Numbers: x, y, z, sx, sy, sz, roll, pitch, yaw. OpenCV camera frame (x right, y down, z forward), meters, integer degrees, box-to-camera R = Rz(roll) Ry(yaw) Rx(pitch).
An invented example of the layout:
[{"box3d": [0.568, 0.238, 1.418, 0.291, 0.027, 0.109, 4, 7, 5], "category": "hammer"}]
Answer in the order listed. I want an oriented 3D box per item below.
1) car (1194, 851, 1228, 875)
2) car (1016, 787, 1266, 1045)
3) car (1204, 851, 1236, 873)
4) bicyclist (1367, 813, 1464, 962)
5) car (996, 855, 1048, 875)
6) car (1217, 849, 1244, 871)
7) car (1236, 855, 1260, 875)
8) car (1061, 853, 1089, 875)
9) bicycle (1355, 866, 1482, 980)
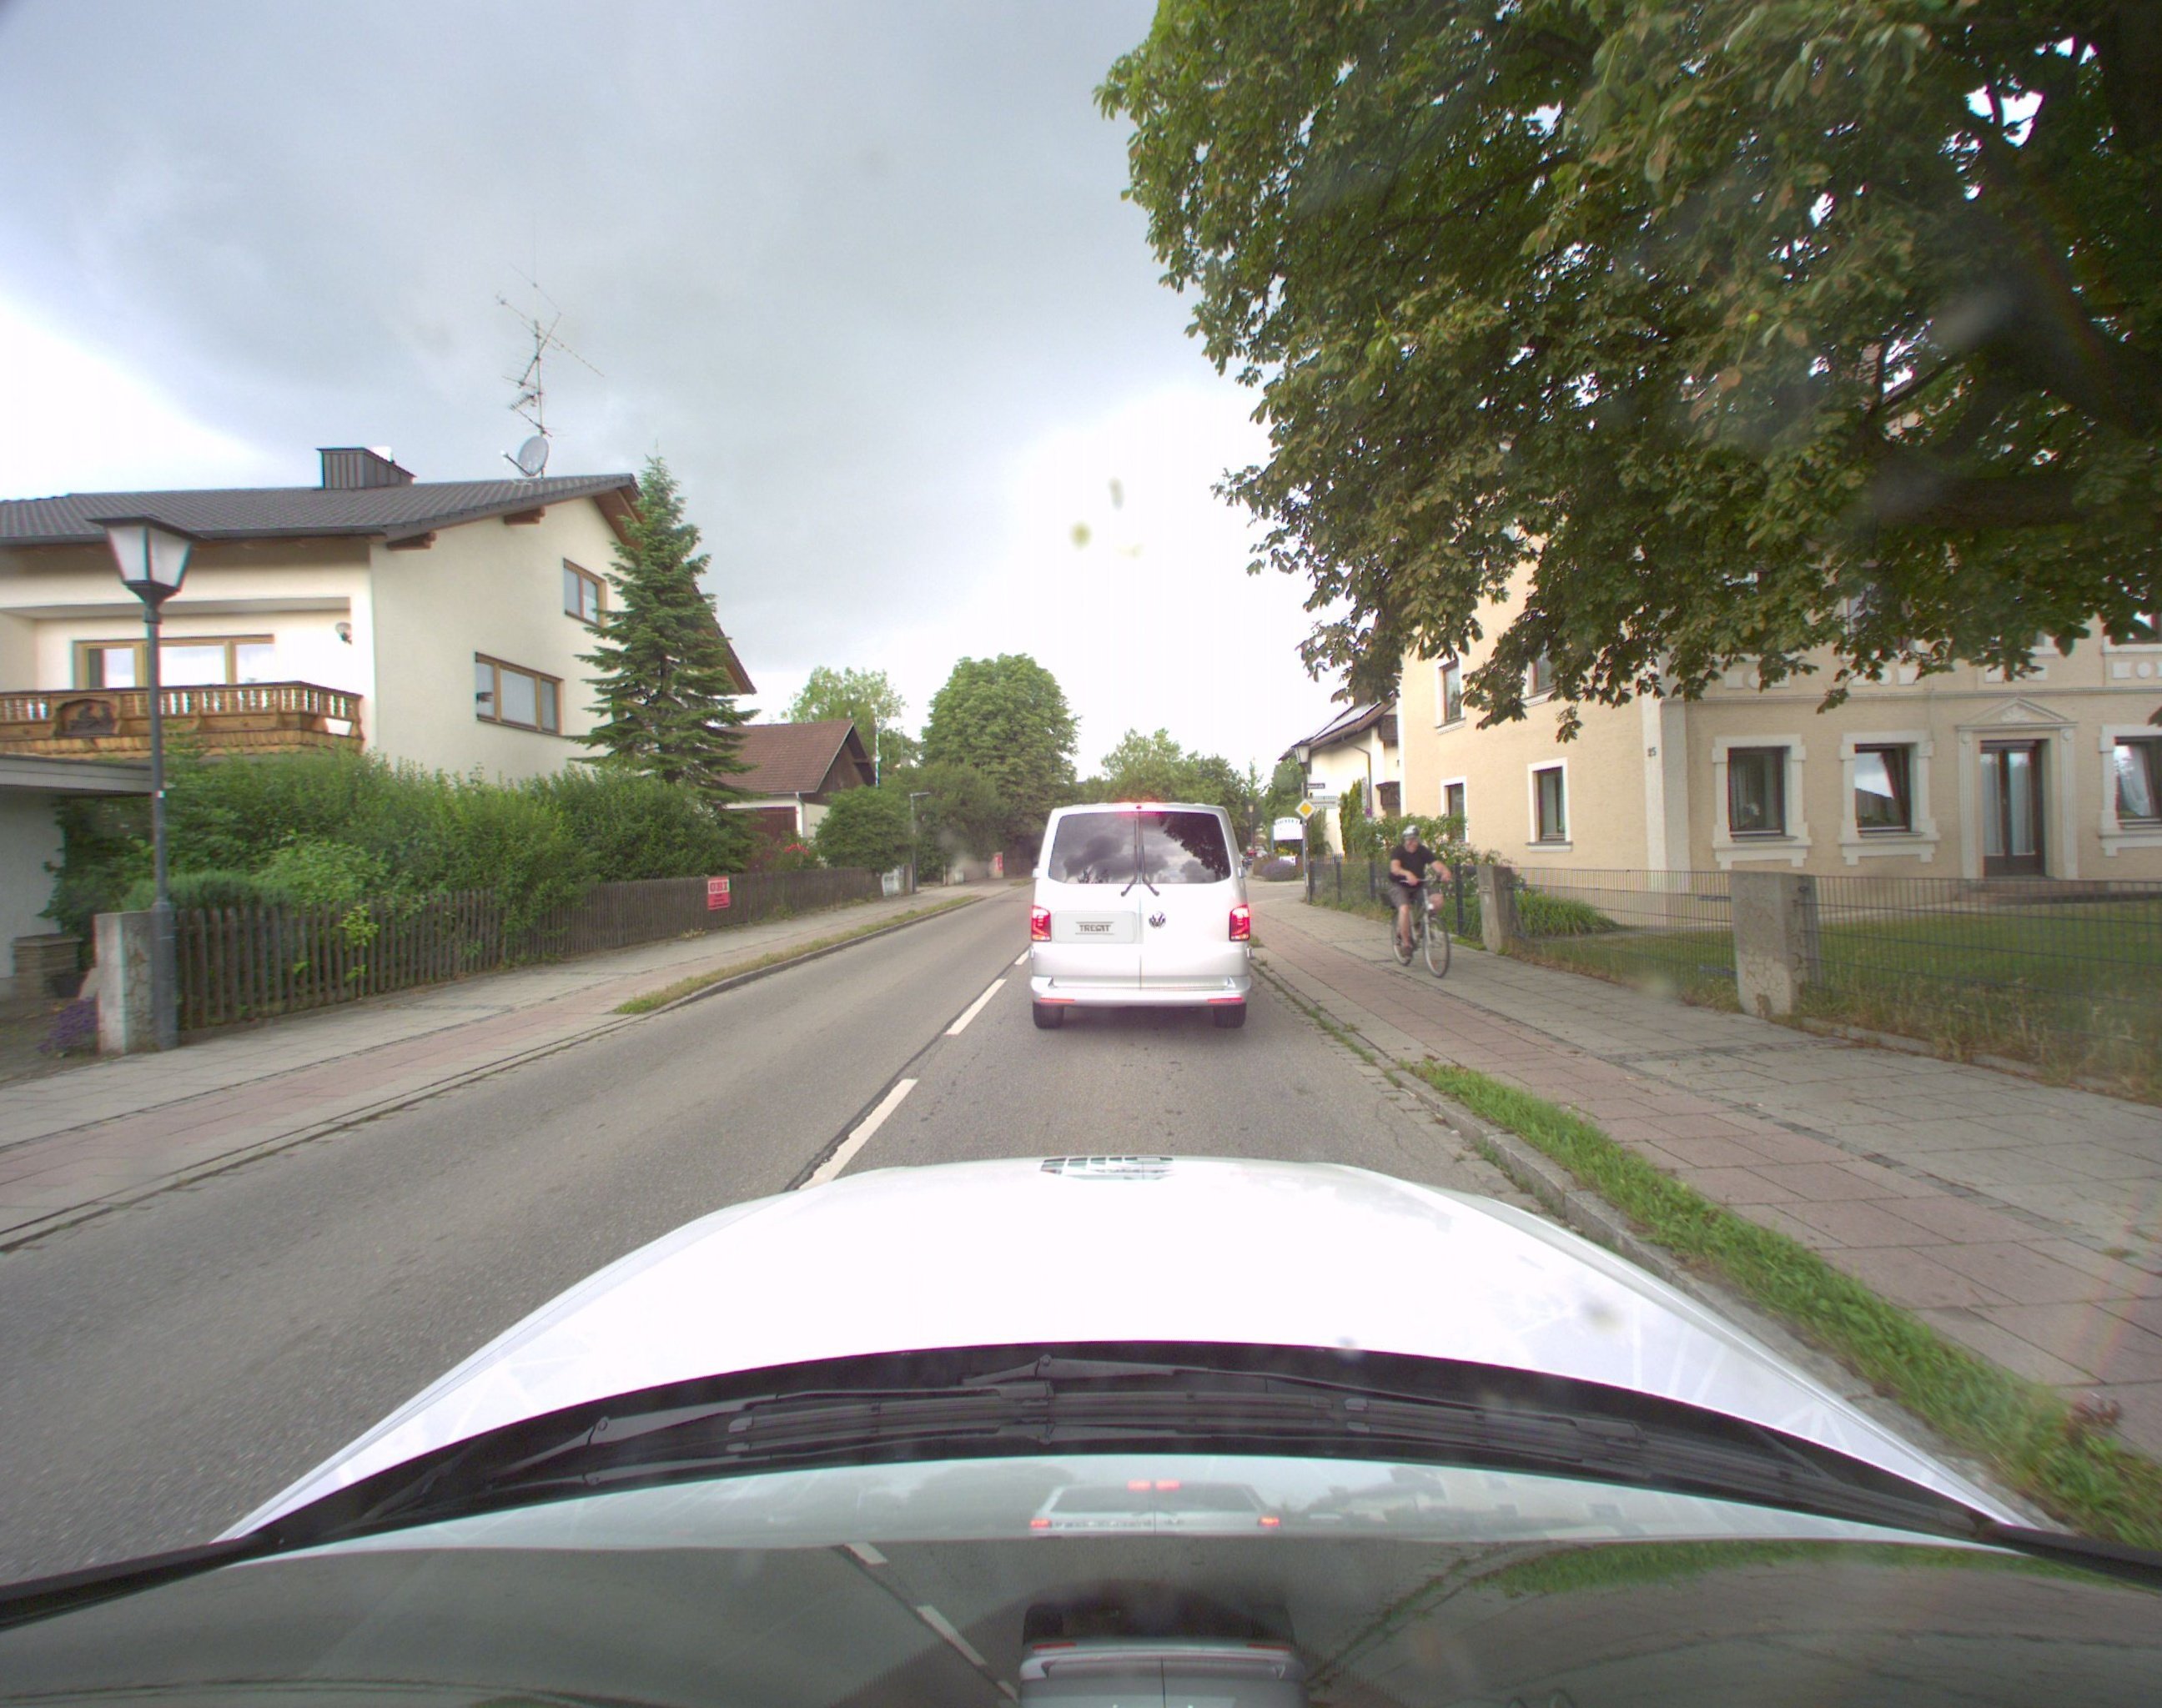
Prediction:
[{"box3d": [8.867, 0.580, 55.449, 1.868, 1.535, 3.936, -2, 0, 14], "category": "car"}, {"box3d": [0.561, 0.482, 8.245, 1.873, 1.940, 3.924, -2, 0, 3], "category": "car"}, {"box3d": [10.522, 0.573, 61.431, 1.867, 1.535, 3.937, -2, 0, 16], "category": "car"}, {"box3d": [3.907, 0.378, 9.587, 0.733, 1.632, 0.891, -3, 0, 3], "category": "bicyclist"}, {"box3d": [-4.614, 0.856, 63.607, 3.982, 1.486, 1.996, -1, 0, -6], "category": "car"}, {"box3d": [12.545, 0.491, 68.249, 1.867, 1.748, 4.097, -2, 0, 15], "category": "car"}, {"box3d": [15.734, 1.011, 76.680, 1.867, 1.825, 3.937, -2, 0, 16], "category": "car"}, {"box3d": [-0.426, 0.726, 61.397, 1.923, 1.575, 4.314, 0, 0, 2], "category": "car"}, {"box3d": [3.910, 0.753, 9.605, 0.761, 1.143, 1.847, -4, 0, 4], "category": "bicycle"}]
